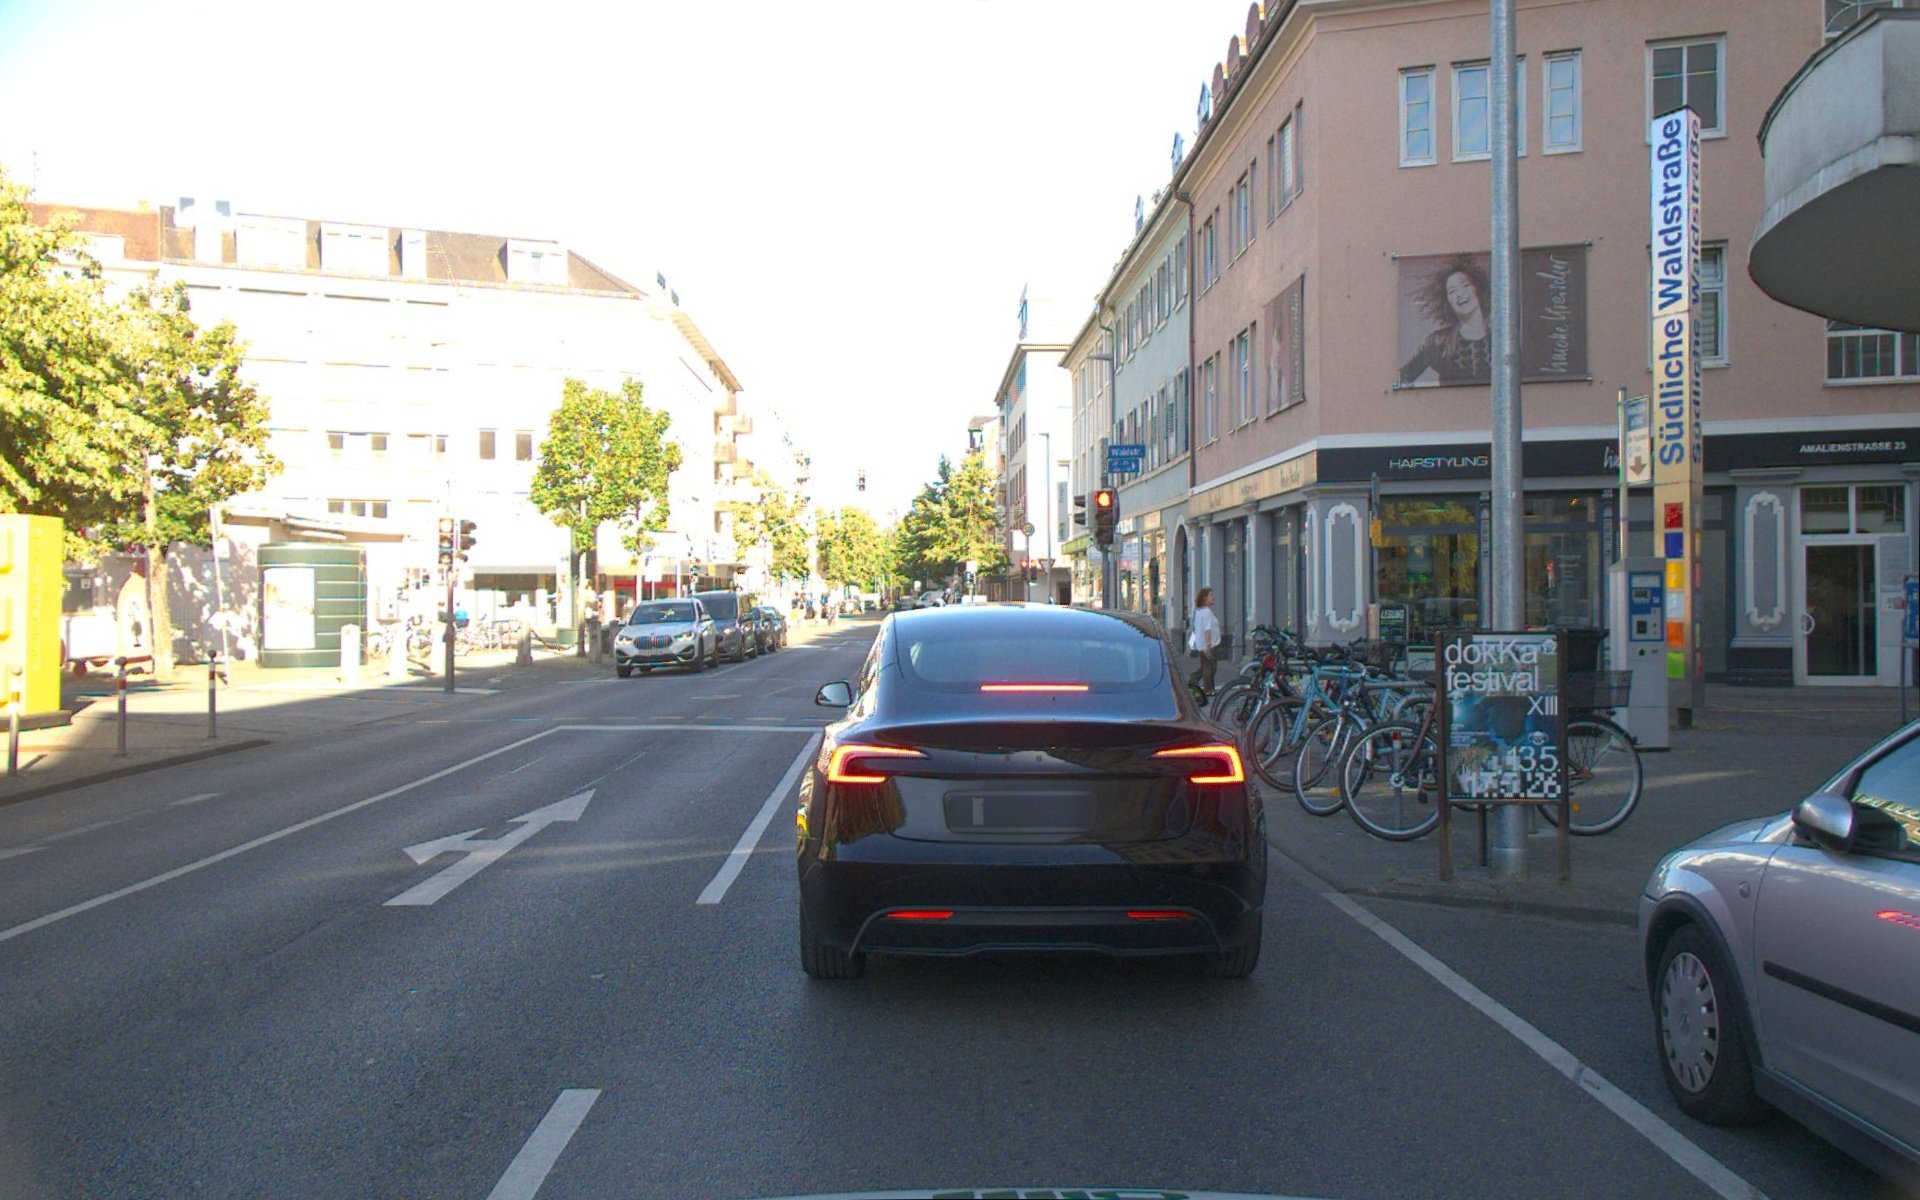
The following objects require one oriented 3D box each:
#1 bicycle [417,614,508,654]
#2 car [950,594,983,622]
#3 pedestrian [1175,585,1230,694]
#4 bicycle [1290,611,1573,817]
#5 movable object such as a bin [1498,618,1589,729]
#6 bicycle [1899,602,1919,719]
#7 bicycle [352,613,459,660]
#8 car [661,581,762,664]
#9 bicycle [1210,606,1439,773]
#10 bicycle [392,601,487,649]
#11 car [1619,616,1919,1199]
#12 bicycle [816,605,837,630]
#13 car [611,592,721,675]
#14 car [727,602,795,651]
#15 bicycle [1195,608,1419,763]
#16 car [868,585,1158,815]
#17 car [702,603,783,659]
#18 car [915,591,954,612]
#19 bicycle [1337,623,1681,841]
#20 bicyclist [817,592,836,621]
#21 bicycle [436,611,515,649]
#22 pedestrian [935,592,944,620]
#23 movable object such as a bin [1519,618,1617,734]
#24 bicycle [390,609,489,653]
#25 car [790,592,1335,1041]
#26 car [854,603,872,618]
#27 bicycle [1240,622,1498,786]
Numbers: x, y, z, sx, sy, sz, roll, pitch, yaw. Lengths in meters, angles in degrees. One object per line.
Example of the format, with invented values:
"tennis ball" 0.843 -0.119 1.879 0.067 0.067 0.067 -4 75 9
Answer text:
"bicycle" -14.890 1.013 49.566 2.485 1.176 0.841 0 0 -6
"car" 0.351 0.479 100.762 1.953 1.657 3.999 0 0 -1
"pedestrian" 3.572 0.575 24.420 0.731 1.579 0.699 0 0 2
"bicycle" 3.139 0.748 11.158 1.686 1.290 0.791 -2 0 5
"movable object such as a bin" 6.023 0.749 17.103 0.718 1.111 0.627 1 0 1
"bicycle" 10.285 0.635 17.014 0.645 1.220 2.212 0 0 18
"bicycle" -14.190 0.921 42.355 2.455 1.176 0.842 0 0 -2
"car" -6.317 0.532 42.504 1.797 1.877 4.674 -4 0 0
"bicycle" 2.988 0.720 13.686 1.709 1.289 0.781 -2 0 2
"bicycle" -14.712 0.695 46.812 2.429 1.347 0.921 0 0 -6
"car" 2.931 0.777 3.518 1.580 1.406 3.642 1 0 0
"bicycle" -7.699 0.996 95.402 1.089 1.368 3.997 0 0 -4
"car" -6.382 0.686 36.273 1.771 1.582 4.307 -4 0 -3
"car" -6.805 0.870 56.910 1.954 1.461 4.671 -4 0 -3
"bicycle" 3.053 0.747 14.718 1.822 1.280 0.833 -2 0 5
"car" 0.288 0.666 13.206 1.953 1.538 4.173 0 0 -2
"car" -6.422 0.883 49.325 1.954 1.434 4.671 -4 0 -3
"car" -2.571 0.155 167.517 3.907 2.049 1.999 0 0 -2
"bicycle" 3.286 0.783 10.028 1.846 1.214 0.692 -2 1 5
"bicyclist" -7.715 0.369 95.495 1.104 1.657 0.964 0 0 -4
"bicycle" -15.214 0.939 51.989 2.279 1.176 0.841 0 0 -6
"pedestrian" -1.500 0.473 121.709 0.628 2.049 0.690 0 0 -5
"movable object such as a bin" 6.044 0.747 16.465 0.737 1.111 0.627 1 0 1
"bicycle" -14.104 0.840 44.889 2.412 1.176 0.842 0 0 -2
"car" 0.315 0.723 7.498 1.810 1.480 3.999 0 0 -1
"car" -10.986 1.208 186.893 1.954 1.666 3.997 0 0 -4
"bicycle" 3.057 0.770 12.508 1.760 1.144 0.782 -2 0 5
